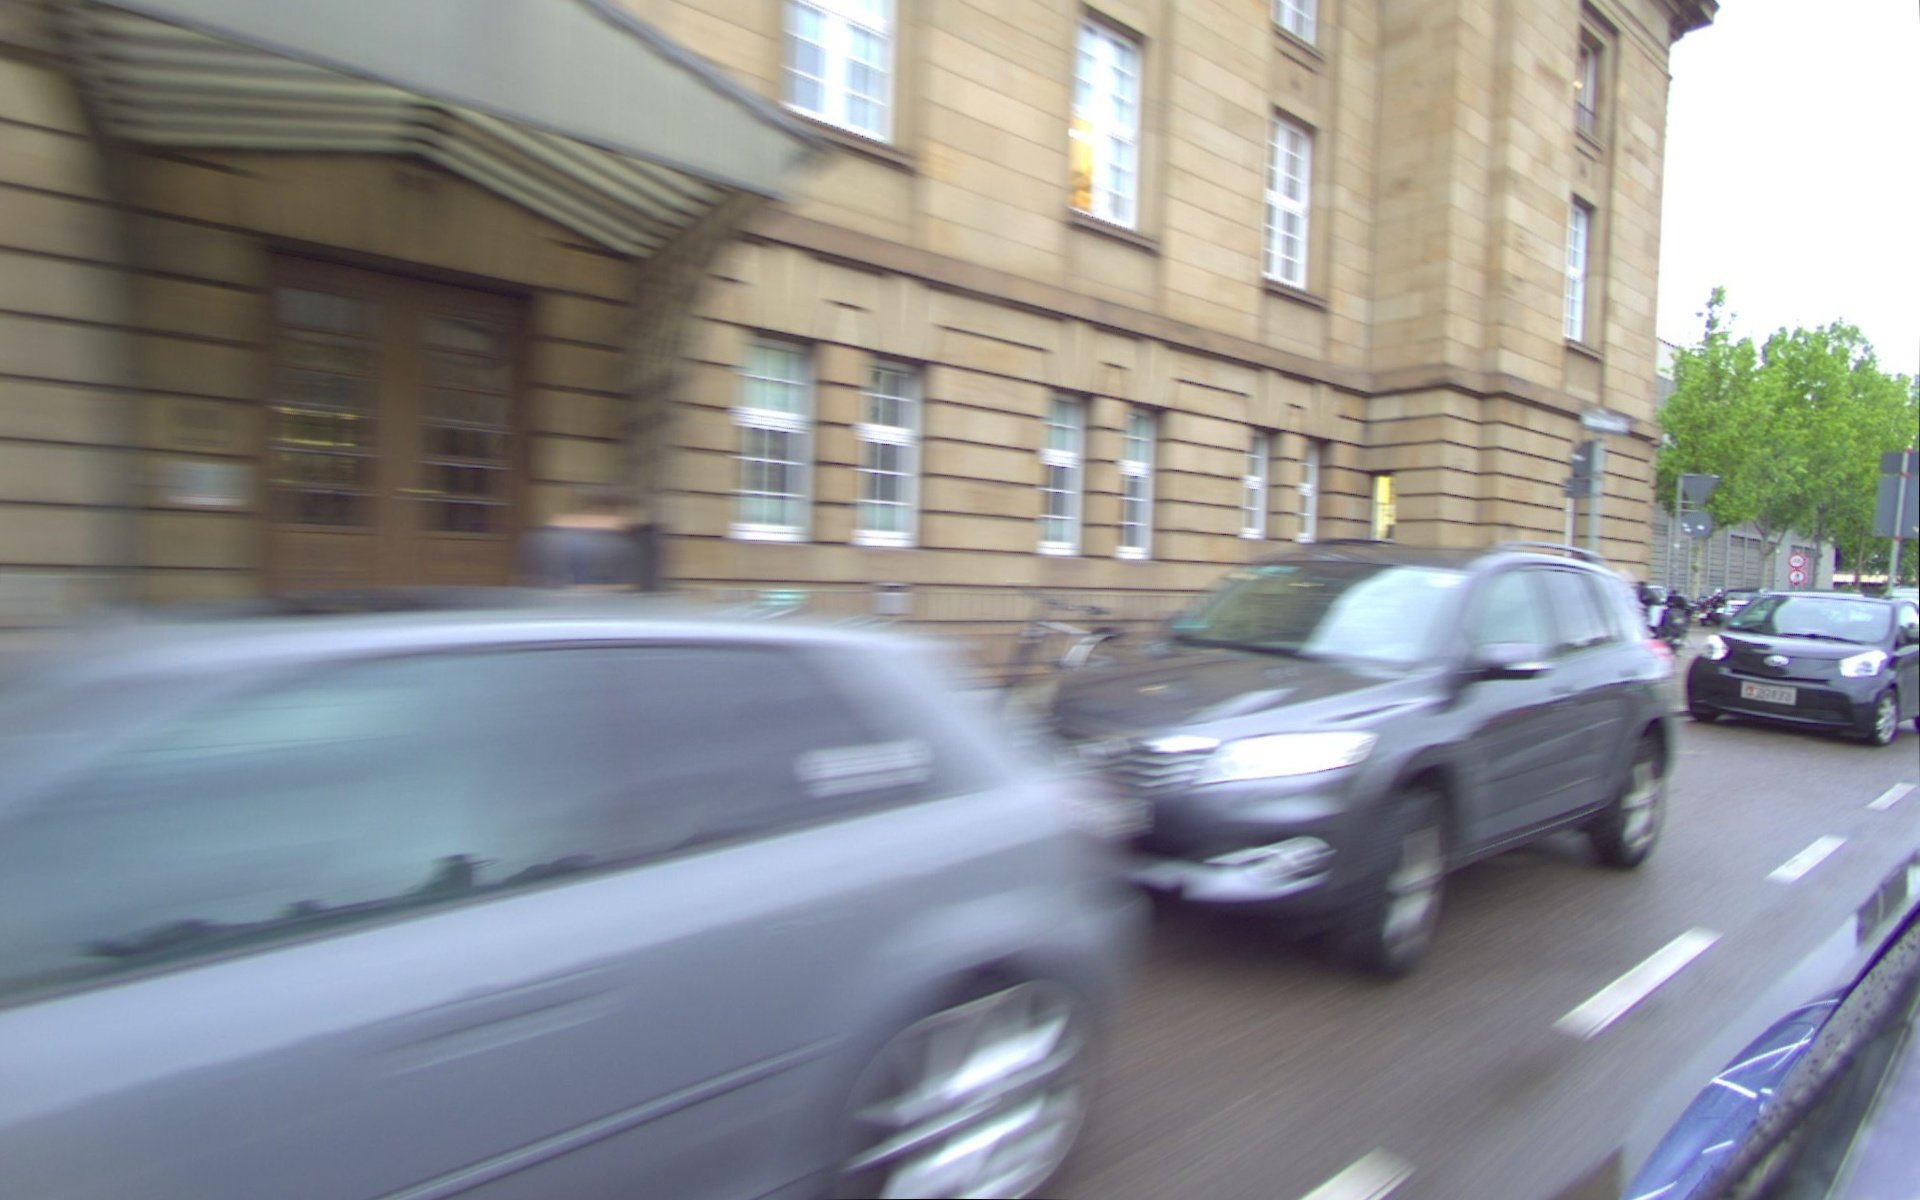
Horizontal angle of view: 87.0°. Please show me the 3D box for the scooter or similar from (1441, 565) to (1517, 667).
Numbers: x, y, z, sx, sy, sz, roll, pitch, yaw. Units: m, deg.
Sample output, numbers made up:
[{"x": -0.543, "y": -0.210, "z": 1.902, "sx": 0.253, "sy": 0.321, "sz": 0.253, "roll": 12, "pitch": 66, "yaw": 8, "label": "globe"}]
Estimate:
[{"x": 7.673, "y": 0.215, "z": 14.957, "sx": 1.244, "sy": 1.434, "sz": 0.414, "roll": -1, "pitch": 4, "yaw": -35, "label": "scooter or similar"}]

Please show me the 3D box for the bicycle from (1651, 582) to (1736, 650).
[{"x": 15.454, "y": 0.295, "z": 21.312, "sx": 1.827, "sy": 1.333, "sz": 1.103, "roll": -1, "pitch": 2, "yaw": -43, "label": "bicycle"}]

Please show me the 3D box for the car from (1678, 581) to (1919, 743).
[{"x": 9.556, "y": 0.552, "z": 11.050, "sx": 3.092, "sy": 1.431, "sz": 1.766, "roll": -1, "pitch": 4, "yaw": -34, "label": "car"}]

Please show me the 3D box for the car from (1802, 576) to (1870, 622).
[{"x": 31.727, "y": -0.096, "z": 36.610, "sx": 1.687, "sy": 1.513, "sz": 3.565, "roll": 2, "pitch": 3, "yaw": 43, "label": "car"}]

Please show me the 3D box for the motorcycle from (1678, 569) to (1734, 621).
[{"x": 29.834, "y": -0.212, "z": 40.460, "sx": 2.545, "sy": 1.930, "sz": 0.749, "roll": -1, "pitch": -15, "yaw": -40, "label": "motorcycle"}]

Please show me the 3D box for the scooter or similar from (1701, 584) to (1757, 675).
[{"x": 11.759, "y": 0.424, "z": 15.494, "sx": 0.431, "sy": 1.309, "sz": 1.246, "roll": 1, "pitch": 2, "yaw": 27, "label": "scooter or similar"}]

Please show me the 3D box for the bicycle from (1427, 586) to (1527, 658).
[{"x": 8.047, "y": 0.321, "z": 15.741, "sx": 1.735, "sy": 1.062, "sz": 0.420, "roll": 0, "pitch": 2, "yaw": -26, "label": "bicycle"}]

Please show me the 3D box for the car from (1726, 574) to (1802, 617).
[{"x": 31.294, "y": -0.221, "z": 39.366, "sx": 2.965, "sy": 1.556, "sz": 1.586, "roll": -1, "pitch": 4, "yaw": -37, "label": "car"}]

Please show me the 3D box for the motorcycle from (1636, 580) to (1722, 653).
[{"x": 13.785, "y": 0.290, "z": 19.387, "sx": 1.765, "sy": 1.314, "sz": 0.809, "roll": -1, "pitch": 2, "yaw": -36, "label": "motorcycle"}]

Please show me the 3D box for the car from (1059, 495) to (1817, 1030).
[{"x": 2.730, "y": 0.491, "z": 5.444, "sx": 4.111, "sy": 1.803, "sz": 1.999, "roll": -1, "pitch": 2, "yaw": -37, "label": "car"}]

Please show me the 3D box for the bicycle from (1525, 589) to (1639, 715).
[{"x": 7.033, "y": 0.524, "z": 11.405, "sx": 0.775, "sy": 1.233, "sz": 1.937, "roll": 4, "pitch": 4, "yaw": 40, "label": "bicycle"}]

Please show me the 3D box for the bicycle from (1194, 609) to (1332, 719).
[{"x": 3.392, "y": 0.664, "z": 11.254, "sx": 1.712, "sy": 1.064, "sz": 0.712, "roll": -1, "pitch": 2, "yaw": -44, "label": "bicycle"}]

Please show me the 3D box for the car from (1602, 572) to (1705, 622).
[{"x": 28.745, "y": -0.074, "z": 41.927, "sx": 4.404, "sy": 1.706, "sz": 1.961, "roll": 4, "pitch": -6, "yaw": -33, "label": "car"}]

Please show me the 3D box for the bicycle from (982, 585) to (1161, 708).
[{"x": 1.076, "y": 0.393, "z": 9.551, "sx": 1.726, "sy": 1.050, "sz": 0.585, "roll": -1, "pitch": 2, "yaw": -36, "label": "bicycle"}]

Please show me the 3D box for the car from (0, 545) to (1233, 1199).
[{"x": -1.320, "y": 0.649, "z": 2.212, "sx": 3.636, "sy": 1.496, "sz": 1.936, "roll": -1, "pitch": 2, "yaw": -39, "label": "car"}]

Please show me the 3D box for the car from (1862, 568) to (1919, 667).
[{"x": 17.883, "y": 0.314, "z": 18.157, "sx": 4.326, "sy": 1.639, "sz": 1.876, "roll": 0, "pitch": 3, "yaw": -40, "label": "car"}]

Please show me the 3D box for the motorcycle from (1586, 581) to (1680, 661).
[{"x": 11.961, "y": 0.340, "z": 17.968, "sx": 2.094, "sy": 1.342, "sz": 0.669, "roll": -1, "pitch": 2, "yaw": -35, "label": "motorcycle"}]
